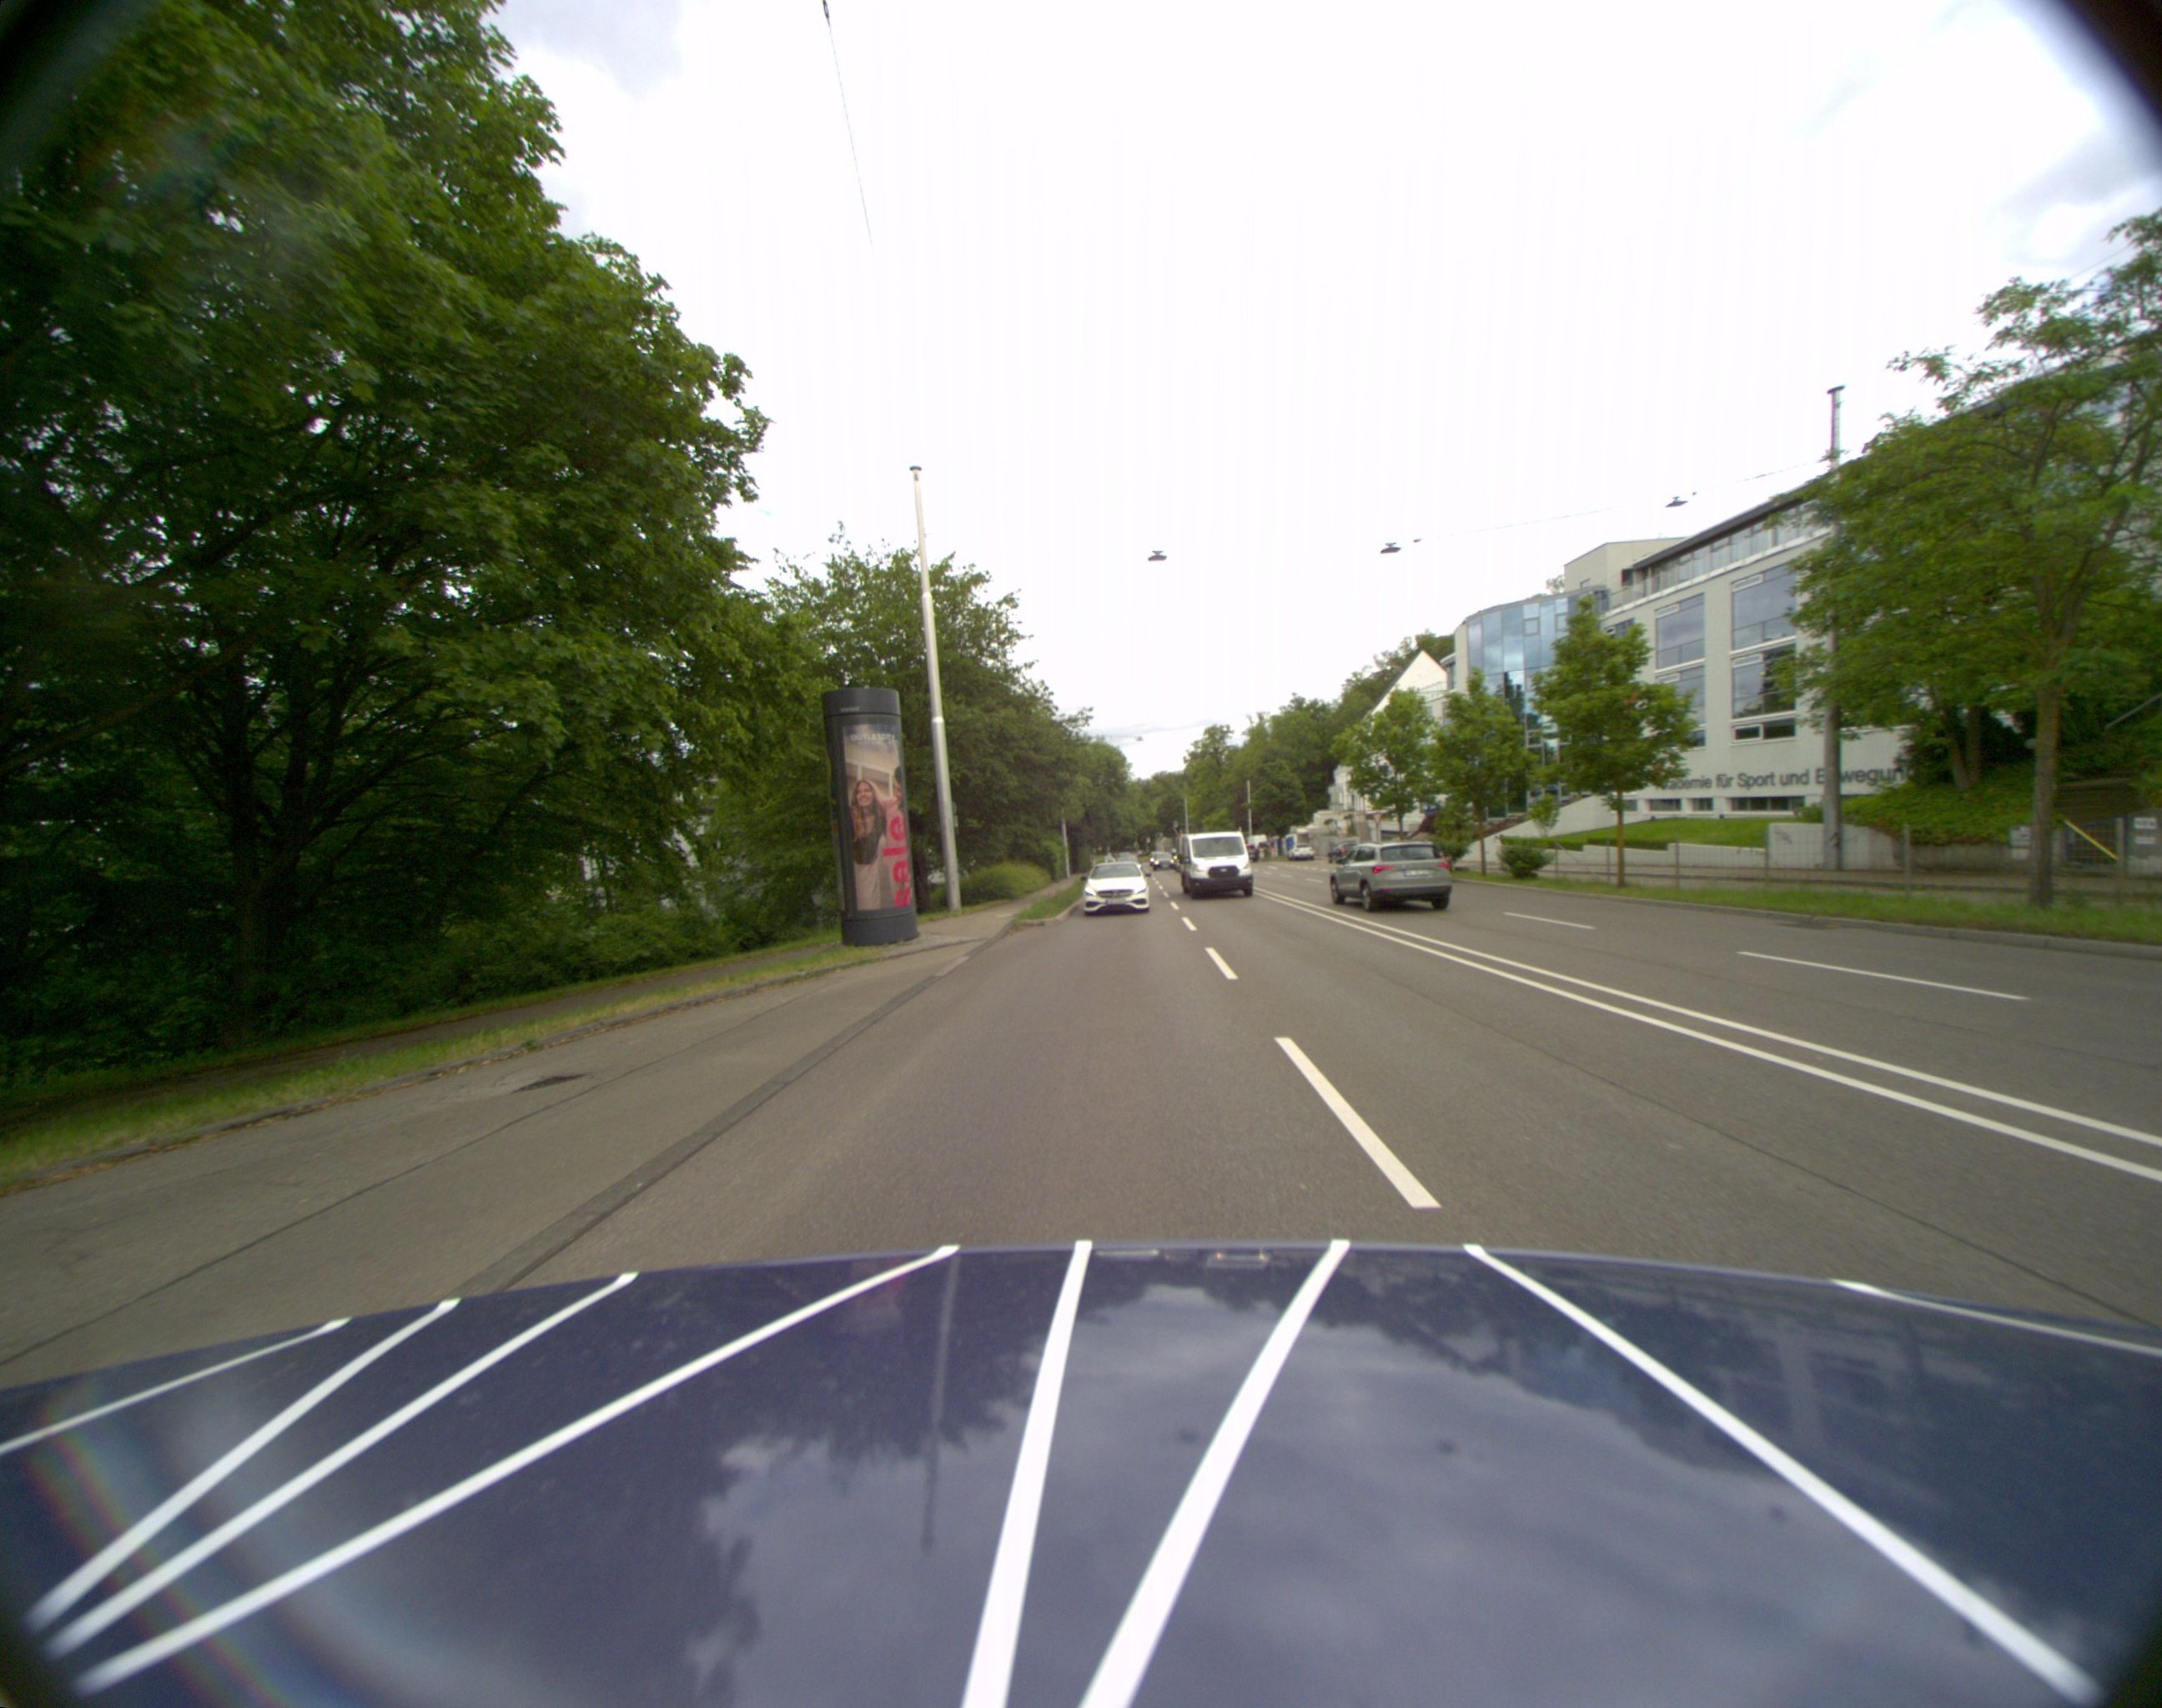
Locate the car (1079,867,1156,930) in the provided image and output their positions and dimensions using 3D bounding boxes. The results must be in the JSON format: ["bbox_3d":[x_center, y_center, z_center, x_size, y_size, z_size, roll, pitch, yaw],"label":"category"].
[{"bbox_3d":[0.979,1.127,20.786,1.821,1.339,4.000,-4,0,2],"label":"car"}]

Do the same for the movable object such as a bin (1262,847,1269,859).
[{"bbox_3d":[18.546,-0.111,76.364,0.589,1.131,0.645,-4,1,11],"label":"movable object such as a bin"}]

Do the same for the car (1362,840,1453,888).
[{"bbox_3d":[11.053,0.315,26.000,1.569,1.423,3.891,-4,0,3],"label":"car"}]

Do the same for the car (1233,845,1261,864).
[{"bbox_3d":[16.279,0.033,74.695,1.768,1.698,4.871,-4,0,2],"label":"car"}]

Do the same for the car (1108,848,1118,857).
[{"bbox_3d":[7.245,-0.366,172.928,1.999,1.880,3.999,-2,1,-2],"label":"car"}]

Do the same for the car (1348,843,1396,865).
[{"bbox_3d":[19.432,-0.004,50.928,1.677,1.420,4.418,-1,1,2],"label":"car"}]

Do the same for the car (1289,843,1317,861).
[{"bbox_3d":[19.998,-0.194,68.688,1.672,1.495,4.239,-3,1,6],"label":"car"}]

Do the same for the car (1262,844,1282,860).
[{"bbox_3d":[23.865,-0.249,95.044,1.810,1.741,4.252,-5,0,8],"label":"car"}]

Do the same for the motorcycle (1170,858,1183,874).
[{"bbox_3d":[7.087,0.865,56.406,0.574,1.120,2.296,-6,0,1],"label":"motorcycle"}]

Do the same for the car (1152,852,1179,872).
[{"bbox_3d":[7.293,0.681,65.761,1.998,1.540,4.001,-3,0,2],"label":"car"}]

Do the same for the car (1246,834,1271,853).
[{"bbox_3d":[25.711,-1.547,110.321,1.998,2.511,6.534,-5,0,2],"label":"car"}]

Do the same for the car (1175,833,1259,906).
[{"bbox_3d":[4.622,0.479,26.805,1.998,2.161,6.269,-3,0,2],"label":"car"}]

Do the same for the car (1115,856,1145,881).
[{"bbox_3d":[3.114,0.926,49.369,1.733,1.403,4.000,-4,0,2],"label":"car"}]

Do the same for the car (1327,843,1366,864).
[{"bbox_3d":[19.596,-0.066,56.294,1.677,1.420,4.091,-3,0,4],"label":"car"}]

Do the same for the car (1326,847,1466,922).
[{"bbox_3d":[7.365,0.644,18.225,1.789,1.530,4.076,-3,0,3],"label":"car"}]

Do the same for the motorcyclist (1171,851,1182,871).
[{"bbox_3d":[7.057,0.511,56.214,0.619,1.463,0.931,-6,1,1],"label":"motorcyclist"}]

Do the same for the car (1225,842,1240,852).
[{"bbox_3d":[23.276,-1.015,116.684,1.582,1.434,3.295,-4,0,-1],"label":"car"}]
